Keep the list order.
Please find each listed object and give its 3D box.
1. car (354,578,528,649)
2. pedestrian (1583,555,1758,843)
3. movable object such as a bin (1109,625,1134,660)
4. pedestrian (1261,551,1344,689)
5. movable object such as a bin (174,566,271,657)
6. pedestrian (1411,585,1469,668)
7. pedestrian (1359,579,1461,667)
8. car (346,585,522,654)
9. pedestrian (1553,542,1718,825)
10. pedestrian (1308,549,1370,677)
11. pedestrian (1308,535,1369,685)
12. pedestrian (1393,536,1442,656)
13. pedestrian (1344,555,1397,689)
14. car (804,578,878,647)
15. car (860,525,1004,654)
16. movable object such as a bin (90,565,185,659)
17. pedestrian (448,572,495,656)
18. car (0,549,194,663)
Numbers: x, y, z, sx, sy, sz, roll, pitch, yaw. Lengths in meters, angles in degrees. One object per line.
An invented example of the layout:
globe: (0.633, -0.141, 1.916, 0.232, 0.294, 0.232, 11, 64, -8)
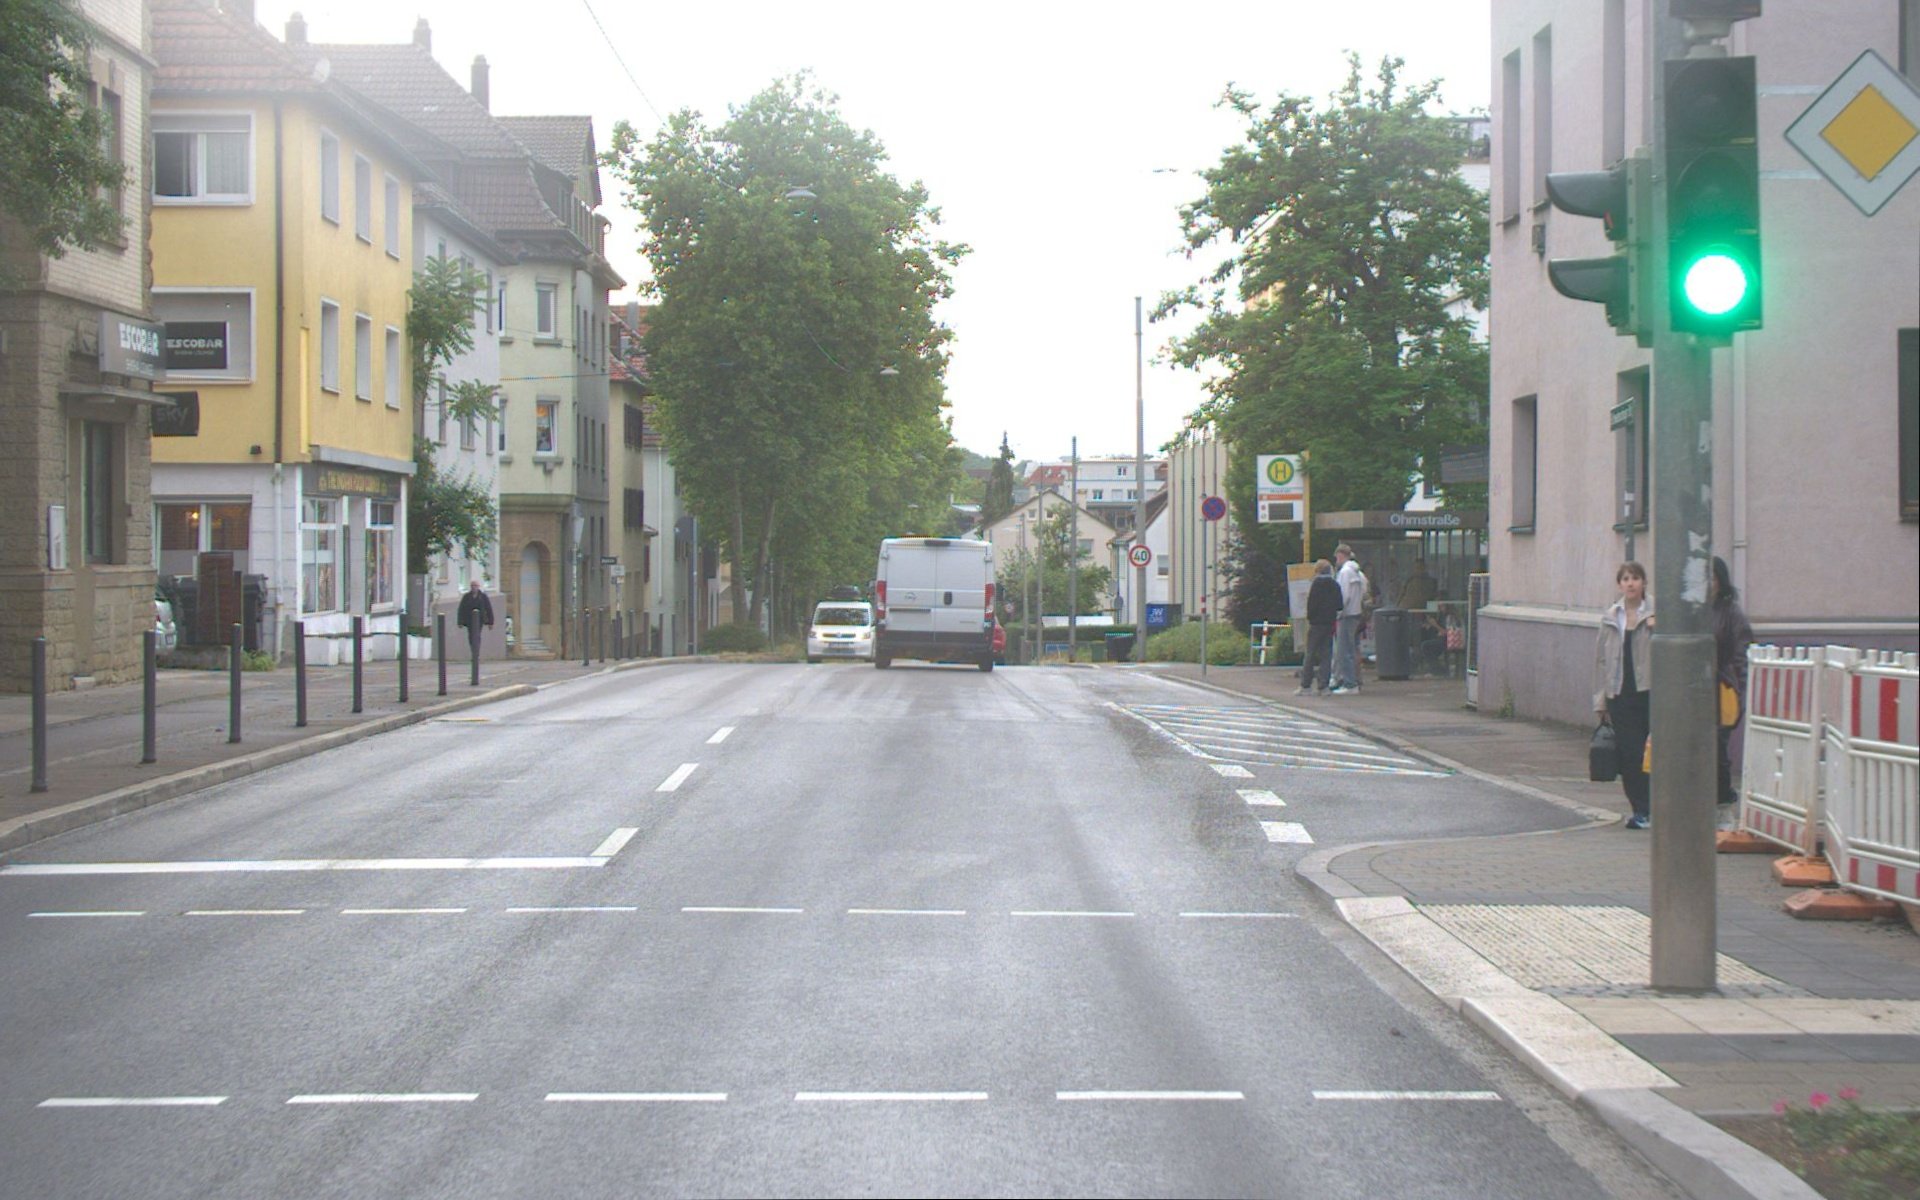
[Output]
car: (-13.667, 0.360, 90.704, 4.182, 1.582, 2.000, 4, 0, 0)
pedestrian: (4.019, 0.543, 19.411, 0.875, 1.555, 1.048, 1, 0, 15)
movable object such as a bin: (5.079, 1.329, 108.023, 0.695, 1.078, 0.778, -3, -1, 1)
pedestrian: (4.292, 0.252, 43.048, 0.634, 1.704, 0.749, -2, 0, -34)
movable object such as a bin: (-11.513, 0.177, 53.695, 1.301, 1.397, 0.983, 1, 0, 0)
pedestrian: (6.959, 0.380, 49.825, 0.660, 1.195, 0.742, -1, 0, -6)
pedestrian: (6.713, 0.341, 51.359, 1.355, 1.269, 0.742, -1, 0, -6)
car: (-13.013, 0.479, 85.203, 3.987, 1.448, 2.000, 4, 0, -1)
pedestrian: (4.062, 0.490, 20.743, 0.784, 1.636, 1.222, 1, 0, 4)
pedestrian: (5.182, 0.177, 47.079, 0.660, 1.735, 0.829, -1, 0, -6)
pedestrian: (4.797, 0.124, 43.535, 0.487, 1.869, 0.631, -2, 0, 30)
pedestrian: (7.016, -0.061, 52.686, 0.647, 1.825, 0.741, -1, 0, 14)
pedestrian: (5.275, 0.279, 44.119, 0.447, 1.702, 0.556, -2, 0, 27)
car: (-3.273, 0.370, 95.168, 1.882, 1.863, 4.453, 0, -1, 0)
car: (-0.531, -0.205, 59.921, 2.346, 2.153, 4.778, 0, 1, -2)
movable object such as a bin: (-12.833, 0.180, 53.666, 1.246, 1.435, 0.983, 1, 0, -1)
pedestrian: (-9.936, 0.296, 69.884, 0.815, 1.674, 0.993, 1, -1, -3)
car: (-12.872, 0.055, 48.763, 3.564, 1.481, 1.947, 2, 0, -2)
